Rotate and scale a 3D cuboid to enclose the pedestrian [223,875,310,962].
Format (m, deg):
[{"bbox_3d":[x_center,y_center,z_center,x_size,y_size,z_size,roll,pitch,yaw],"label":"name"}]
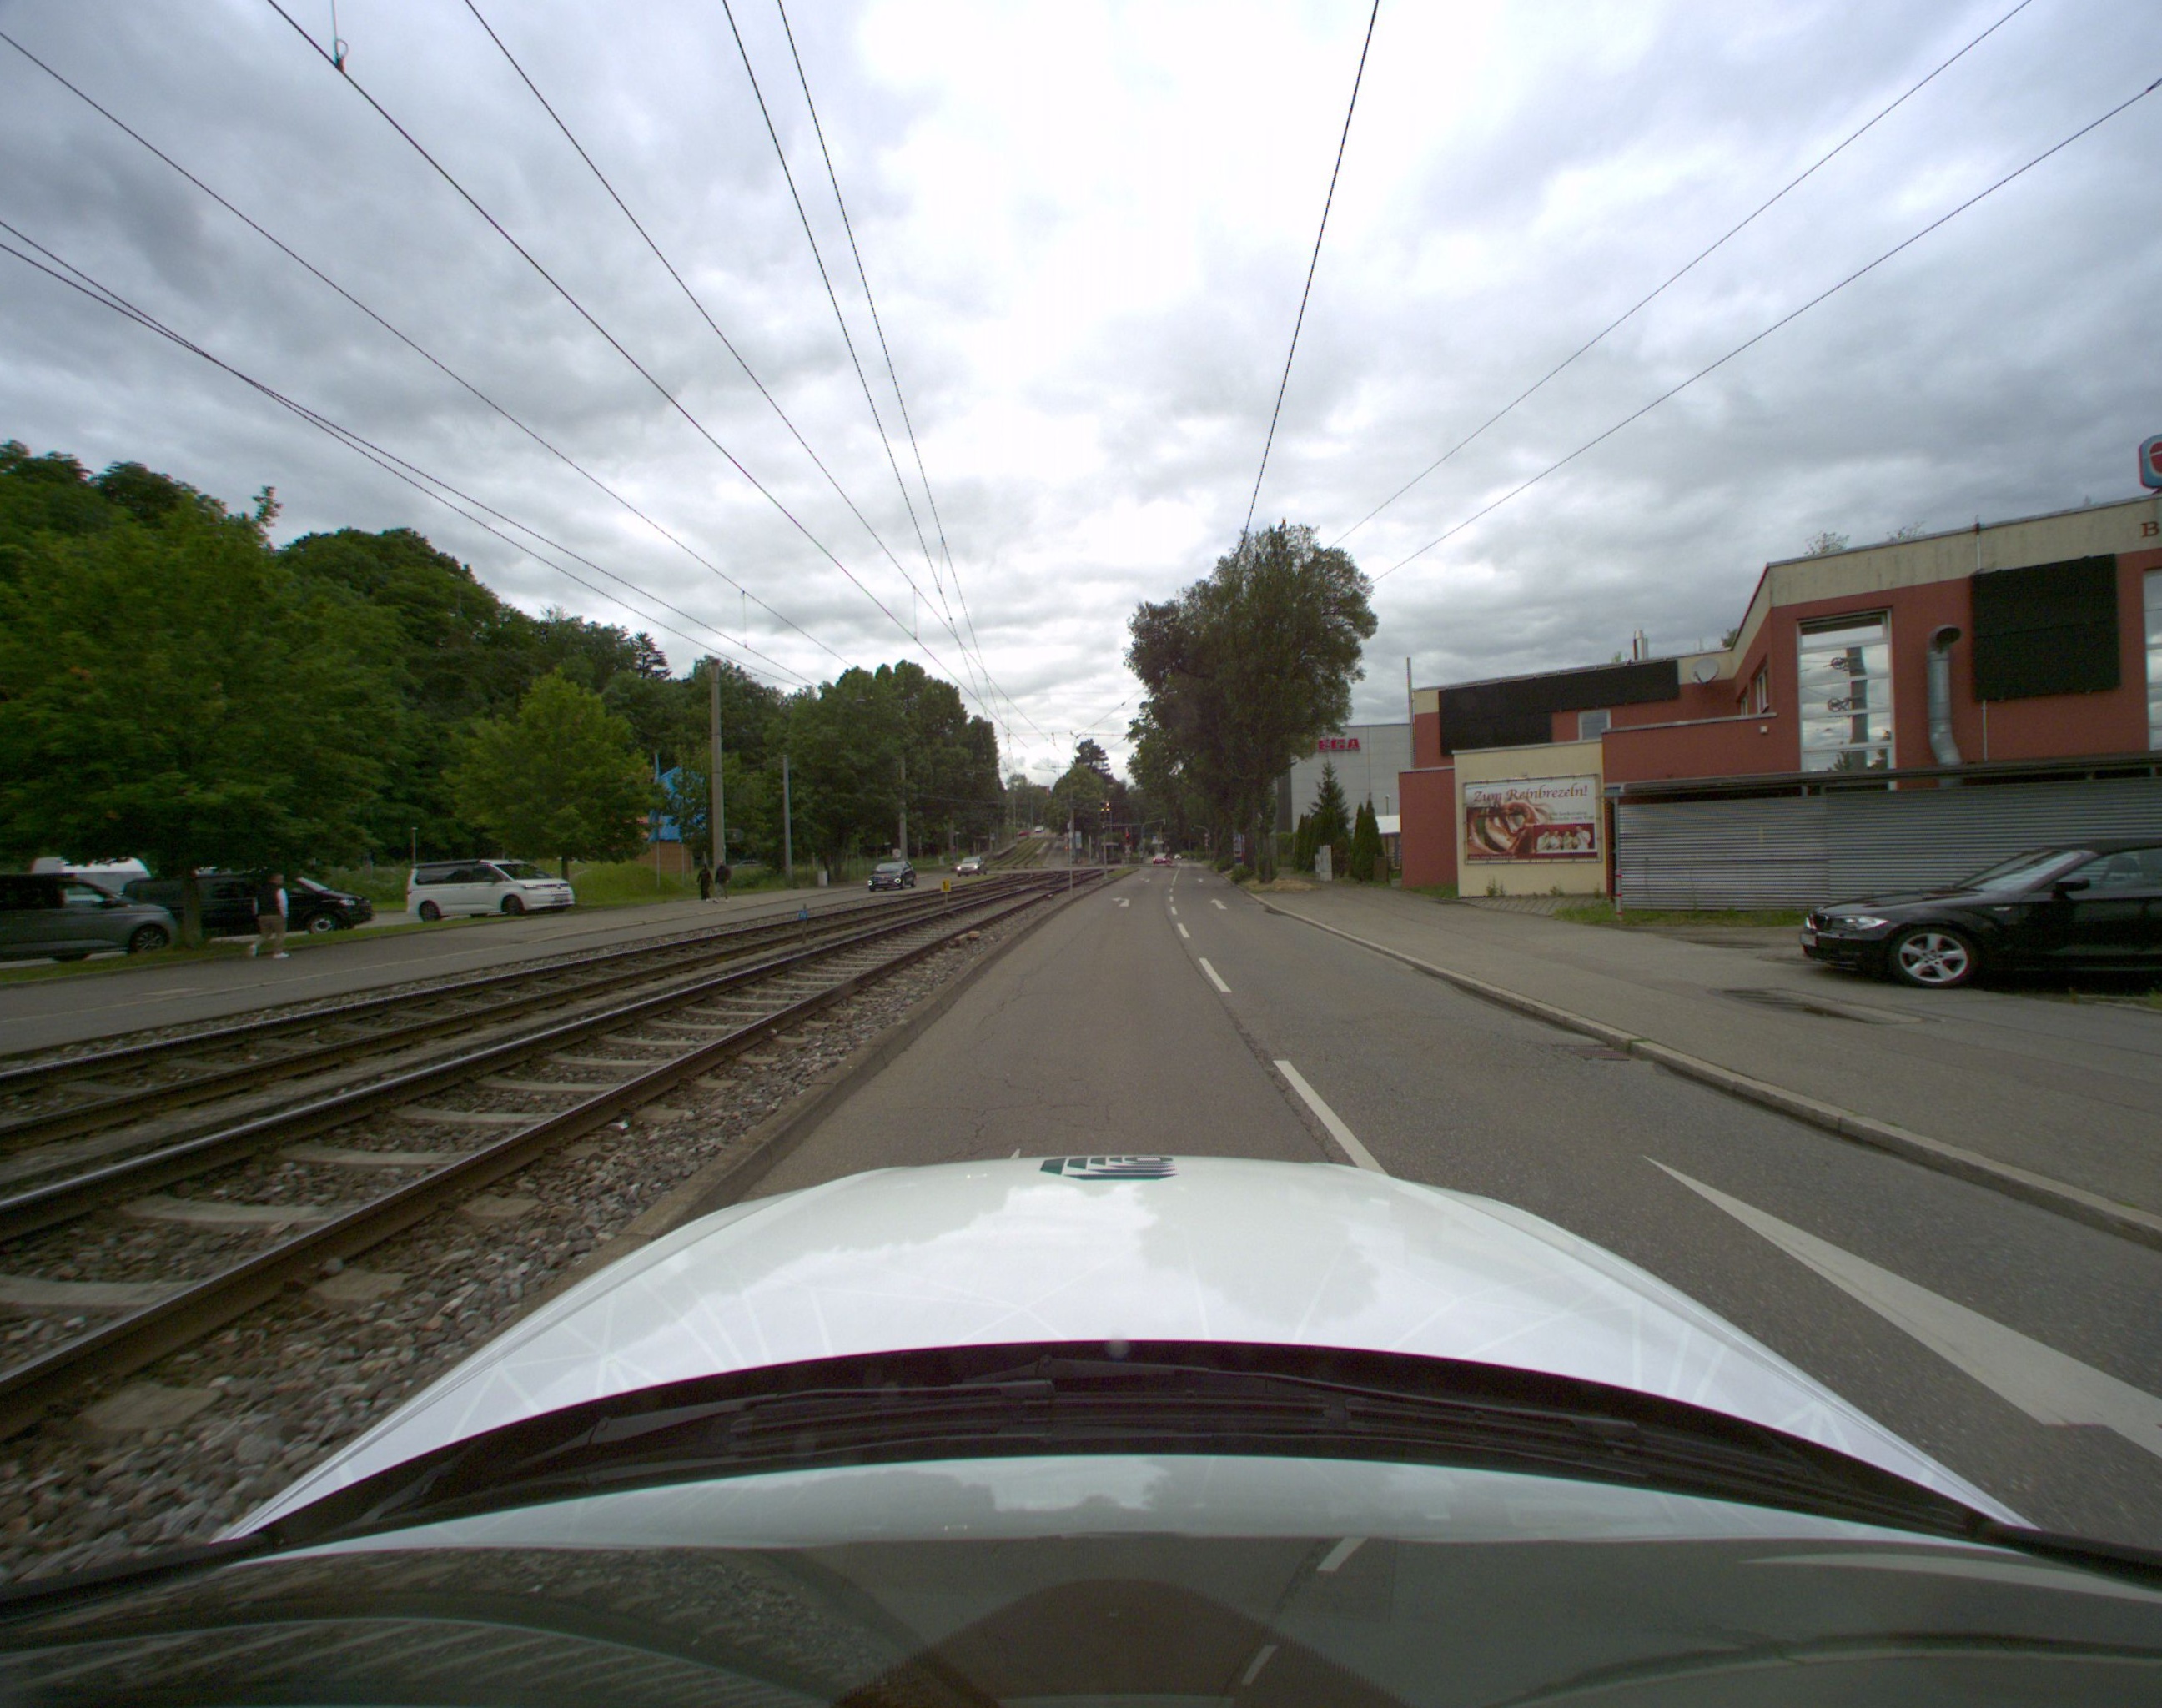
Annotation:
[{"bbox_3d":[-16.431,1.282,16.455,0.717,1.655,1.040,1,0,-7],"label":"pedestrian"}]

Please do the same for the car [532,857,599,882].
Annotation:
[{"bbox_3d":[-44.393,1.321,70.173,1.974,2.013,4.431,-1,0,32],"label":"car"}]

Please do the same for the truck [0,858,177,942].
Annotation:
[{"bbox_3d":[-33.941,1.534,27.832,5.706,2.588,2.483,-2,0,25],"label":"truck"}]

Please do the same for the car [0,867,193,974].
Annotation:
[{"bbox_3d":[-22.151,1.363,16.816,1.987,2.013,5.128,-2,0,-1],"label":"car"}]

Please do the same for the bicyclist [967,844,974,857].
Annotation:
[{"bbox_3d":[-16.047,-0.443,118.305,0.818,1.849,1.051,-2,0,-1],"label":"bicyclist"}]

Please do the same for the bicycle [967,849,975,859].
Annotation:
[{"bbox_3d":[-16.031,0.019,118.569,0.821,1.343,2.995,-2,0,-1],"label":"bicycle"}]

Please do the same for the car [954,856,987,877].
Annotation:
[{"bbox_3d":[-8.916,1.002,66.179,1.884,1.532,4.257,-5,0,1],"label":"car"}]

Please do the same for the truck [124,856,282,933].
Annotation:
[{"bbox_3d":[-32.011,1.440,29.686,5.009,2.588,2.483,-2,0,25],"label":"truck"}]

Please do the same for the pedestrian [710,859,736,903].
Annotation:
[{"bbox_3d":[-14.967,1.105,34.043,0.673,1.813,0.856,0,0,3],"label":"pedestrian"}]

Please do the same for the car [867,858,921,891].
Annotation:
[{"bbox_3d":[-9.874,1.035,43.218,1.681,1.532,4.257,-5,0,1],"label":"car"}]

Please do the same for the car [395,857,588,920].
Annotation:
[{"bbox_3d":[-19.420,1.110,26.962,5.027,1.888,2.172,-1,0,8],"label":"car"}]

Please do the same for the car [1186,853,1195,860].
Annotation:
[{"bbox_3d":[29.583,0.598,219.837,1.985,1.816,4.004,-2,0,3],"label":"car"}]

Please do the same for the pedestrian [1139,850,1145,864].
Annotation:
[{"bbox_3d":[8.225,0.453,109.100,0.765,1.852,0.911,-2,-1,4],"label":"pedestrian"}]

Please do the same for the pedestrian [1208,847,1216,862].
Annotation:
[{"bbox_3d":[18.046,0.077,111.986,0.669,2.014,0.926,-1,-1,-25],"label":"pedestrian"}]

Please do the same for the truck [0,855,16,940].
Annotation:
[{"bbox_3d":[-35.970,1.431,25.286,5.009,2.588,2.483,-2,0,25],"label":"truck"}]

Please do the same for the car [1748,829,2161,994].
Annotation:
[{"bbox_3d":[9.651,0.524,8.242,4.180,1.443,1.774,-2,0,28],"label":"car"}]

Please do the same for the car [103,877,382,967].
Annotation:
[{"bbox_3d":[-23.045,1.781,22.788,5.095,2.013,2.142,-2,0,-36],"label":"car"}]

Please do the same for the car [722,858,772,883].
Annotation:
[{"bbox_3d":[-25.510,1.213,62.367,1.986,1.750,4.002,-2,0,2],"label":"car"}]

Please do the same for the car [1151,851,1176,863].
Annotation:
[{"bbox_3d":[10.975,0.375,108.260,1.976,1.515,4.525,-1,0,23],"label":"car"}]

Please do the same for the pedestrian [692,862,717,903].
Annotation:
[{"bbox_3d":[-15.794,1.180,34.165,0.625,1.713,0.856,0,0,3],"label":"pedestrian"}]
